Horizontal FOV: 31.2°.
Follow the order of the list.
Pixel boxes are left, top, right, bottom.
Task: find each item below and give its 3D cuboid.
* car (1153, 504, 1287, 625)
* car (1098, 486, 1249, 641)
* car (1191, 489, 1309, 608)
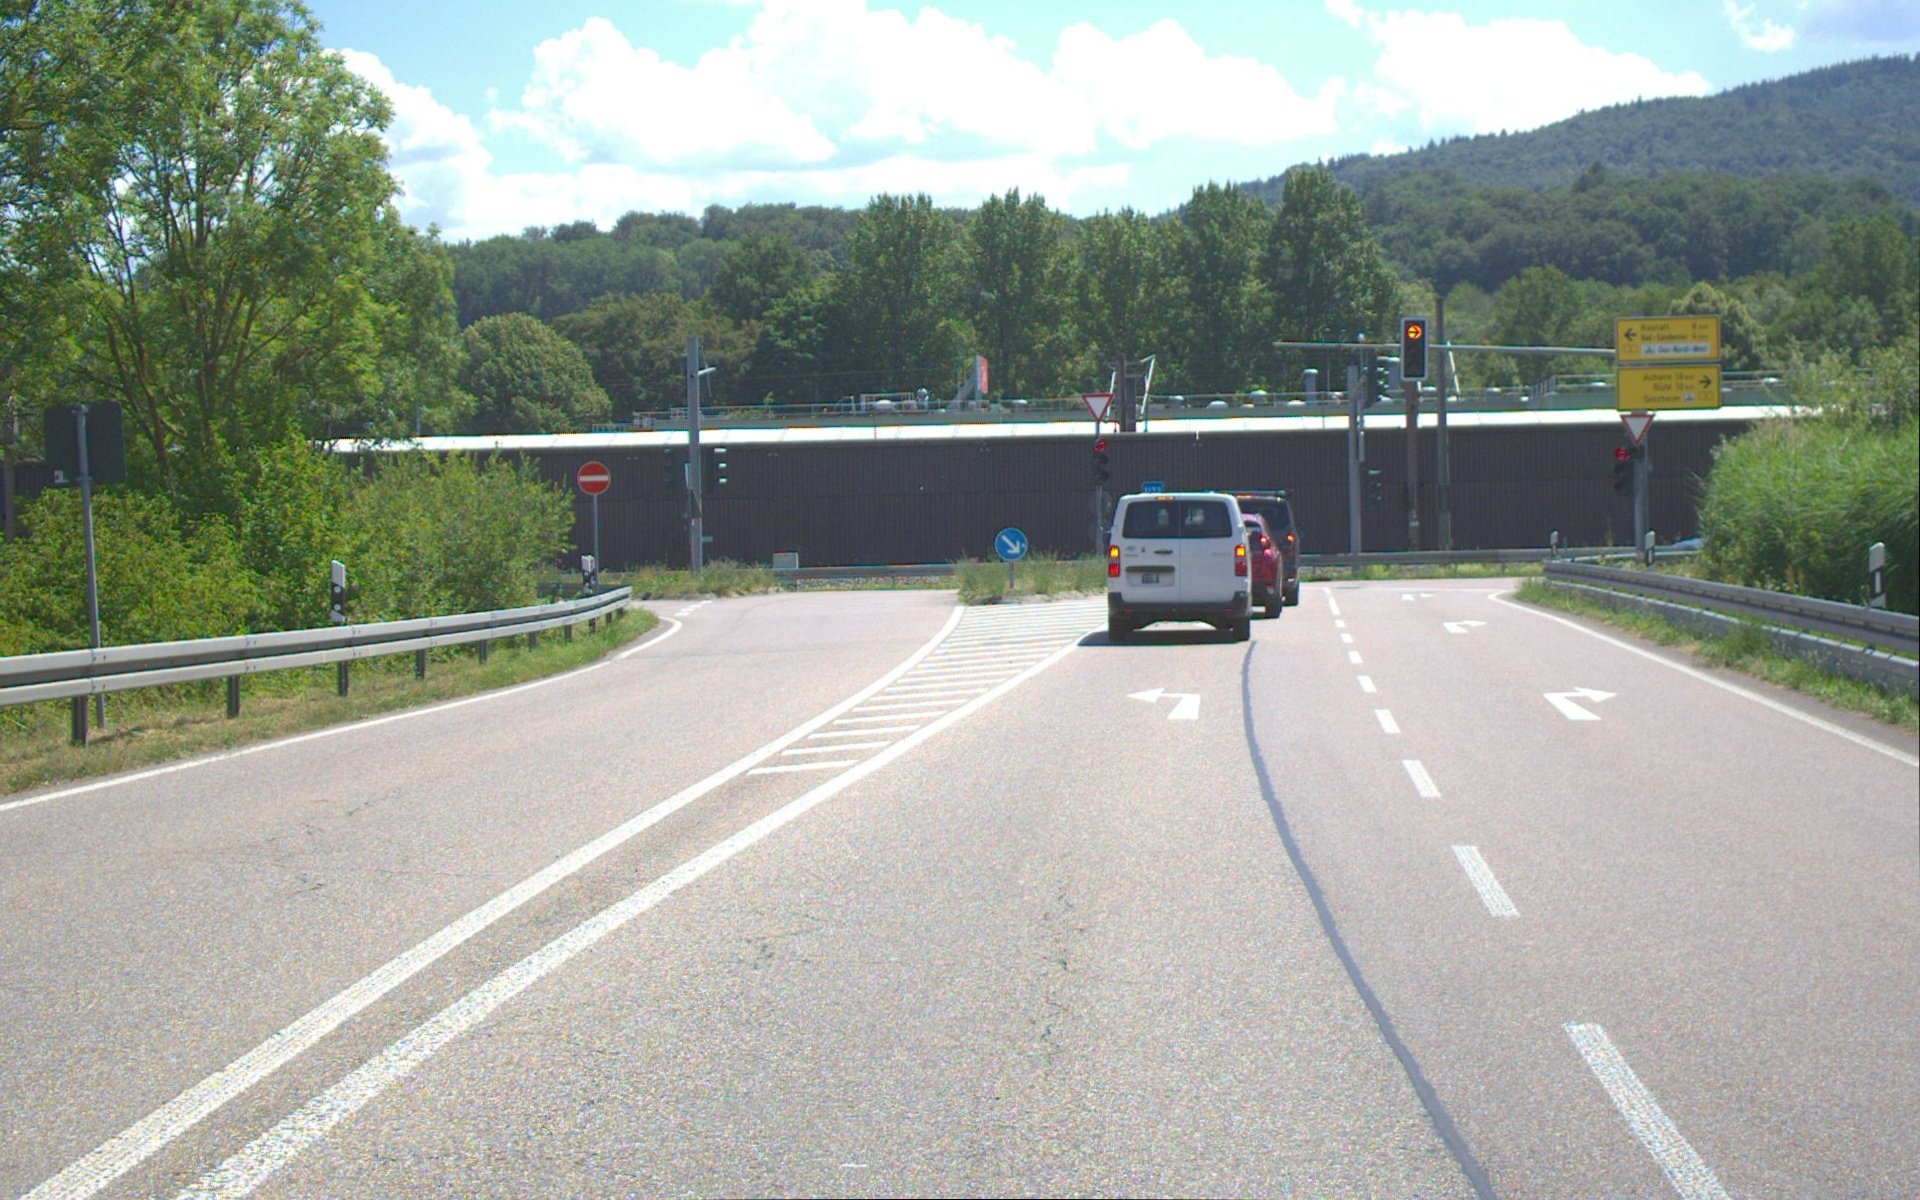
[{"bbox_3d":[4.216,-0.586,55.250,1.994,1.806,3.999,-2,1,6],"label":"car"},{"bbox_3d":[2.870,-0.502,45.528,1.870,1.958,3.999,0,1,5],"label":"car"},{"bbox_3d":[5.298,-0.939,62.461,1.994,2.006,3.999,-2,1,6],"label":"car"}]
